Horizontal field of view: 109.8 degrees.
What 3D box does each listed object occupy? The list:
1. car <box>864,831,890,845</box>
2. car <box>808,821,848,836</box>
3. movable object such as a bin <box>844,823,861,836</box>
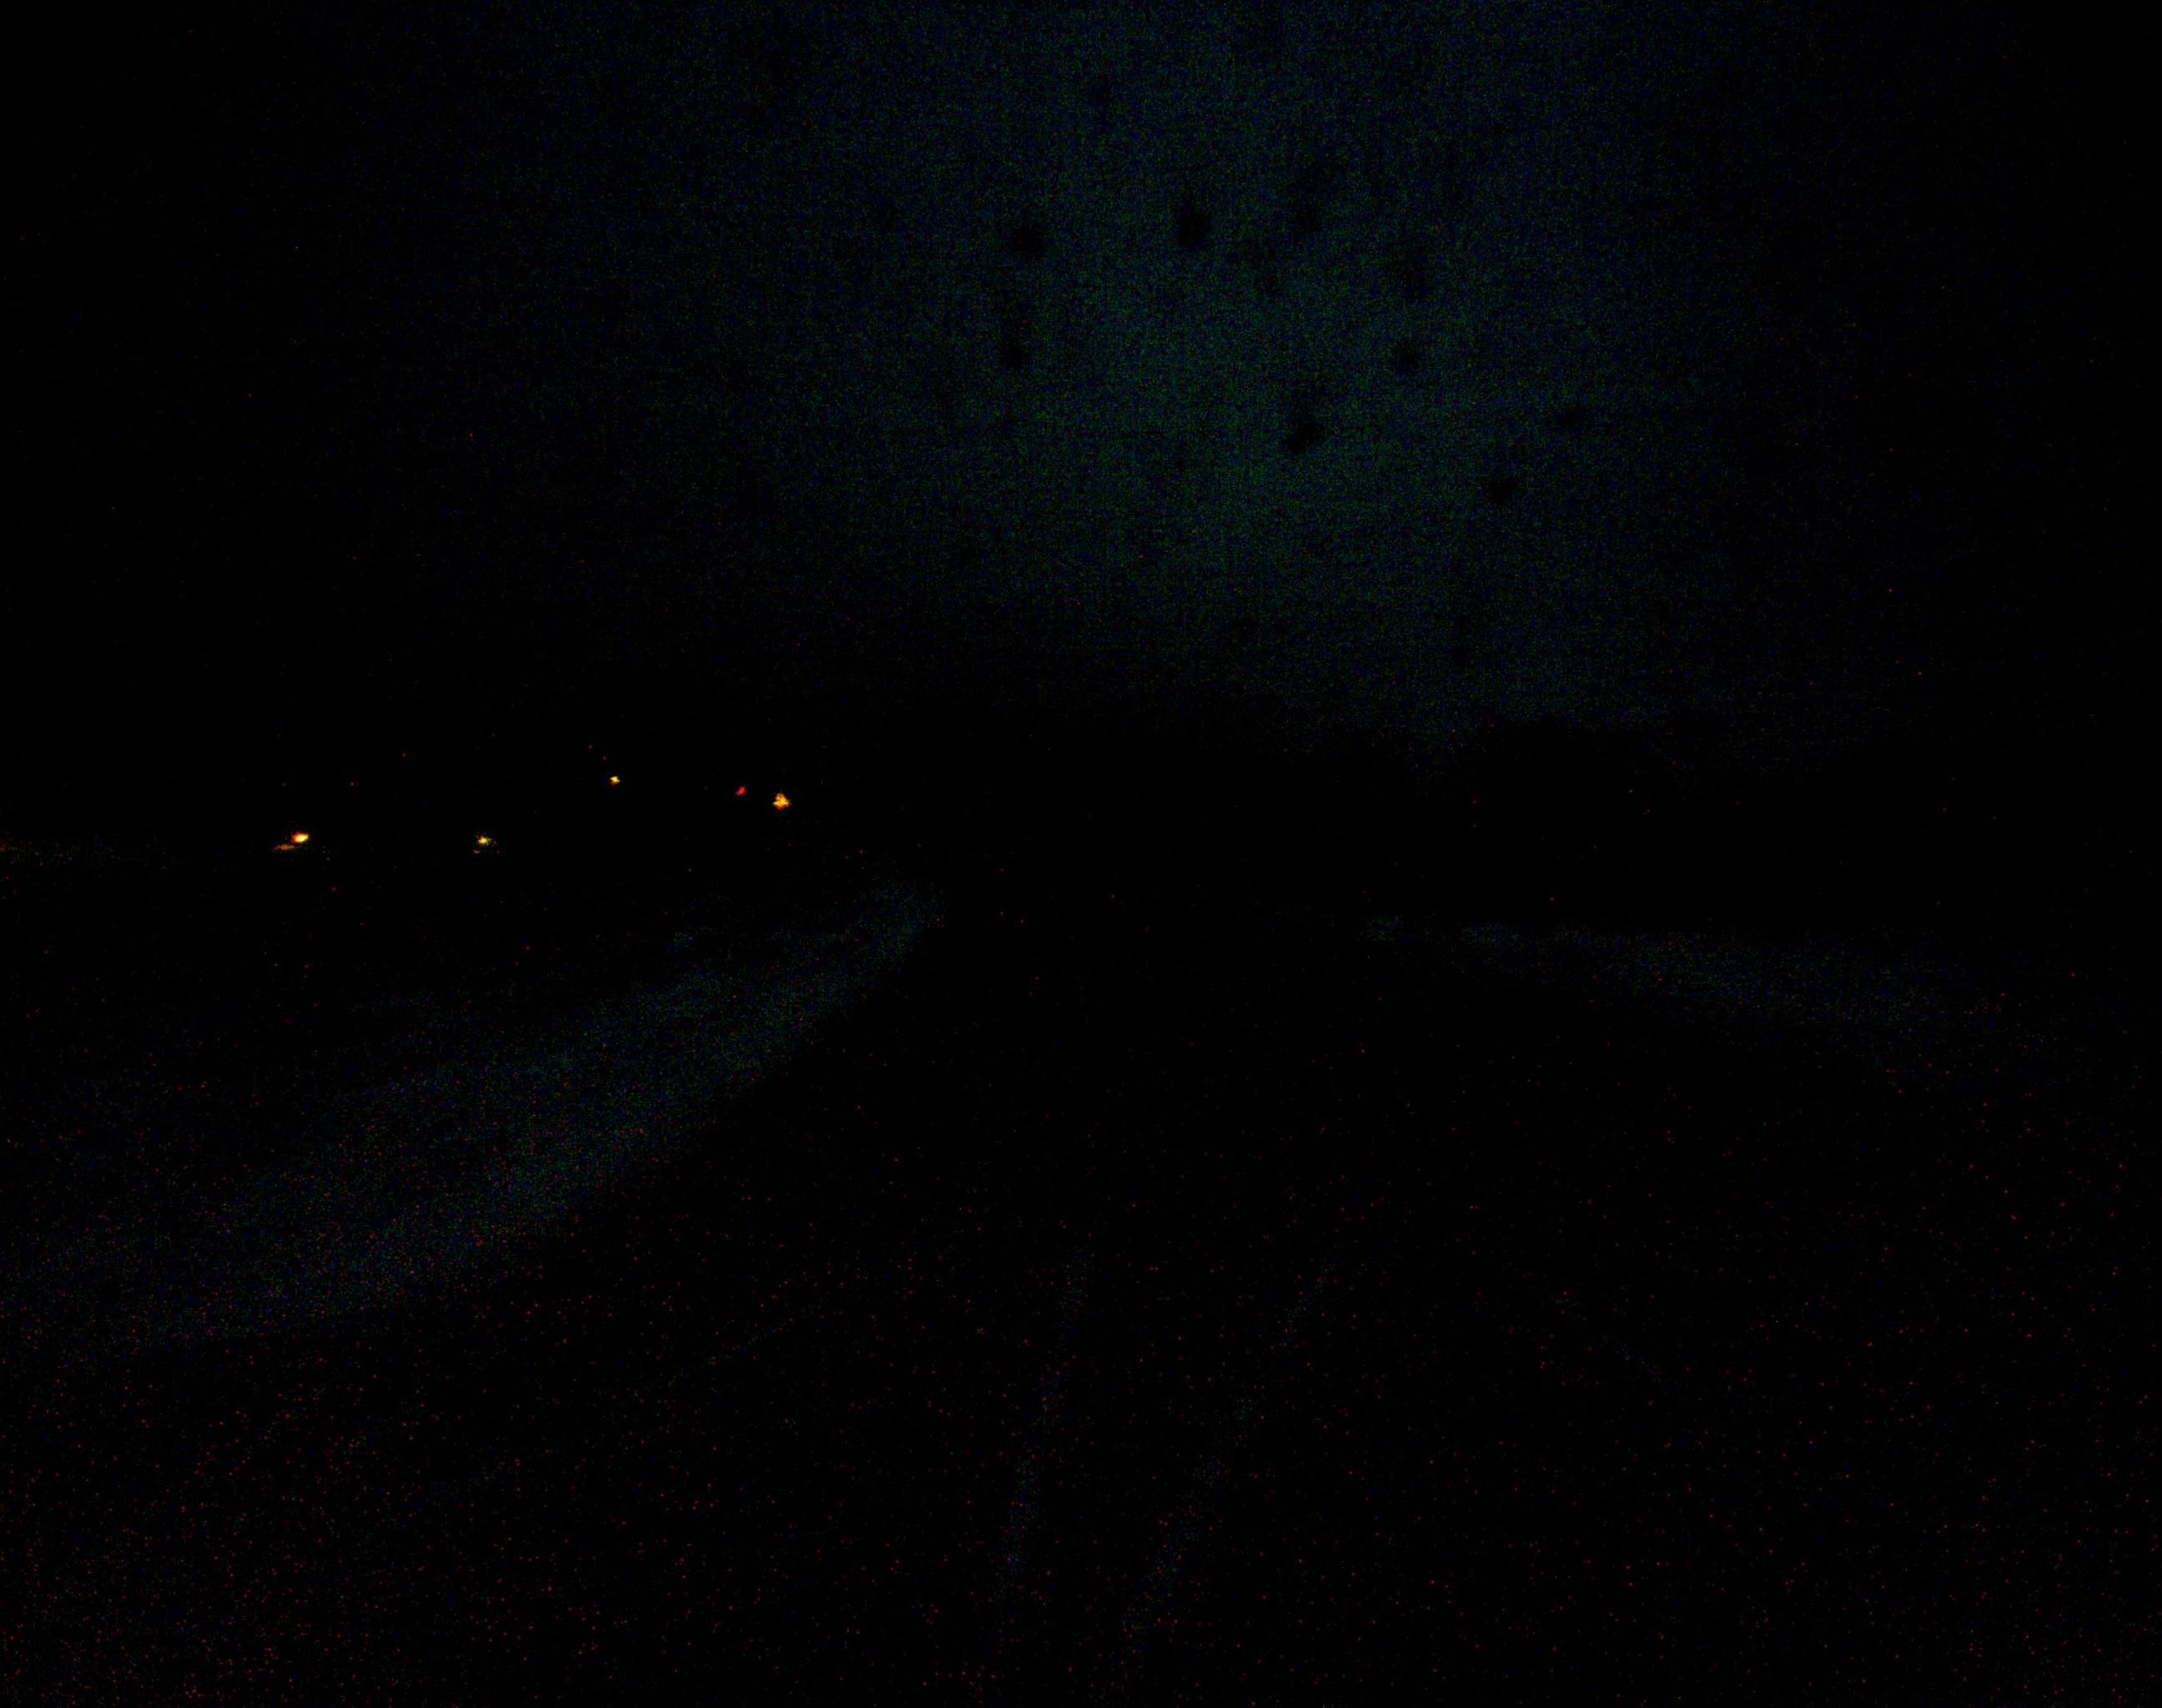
[{"bbox_3d":[-24.536,-1.929,91.246,1.727,1.526,3.506,0,2,-37],"label":"car"},{"bbox_3d":[-39.175,-3.863,117.596,5.289,2.003,2.206,0,6,-42],"label":"car"},{"bbox_3d":[-32.734,-3.511,108.822,2.373,1.640,1.438,-2,4,-17],"label":"movable object such as a bin"}]
